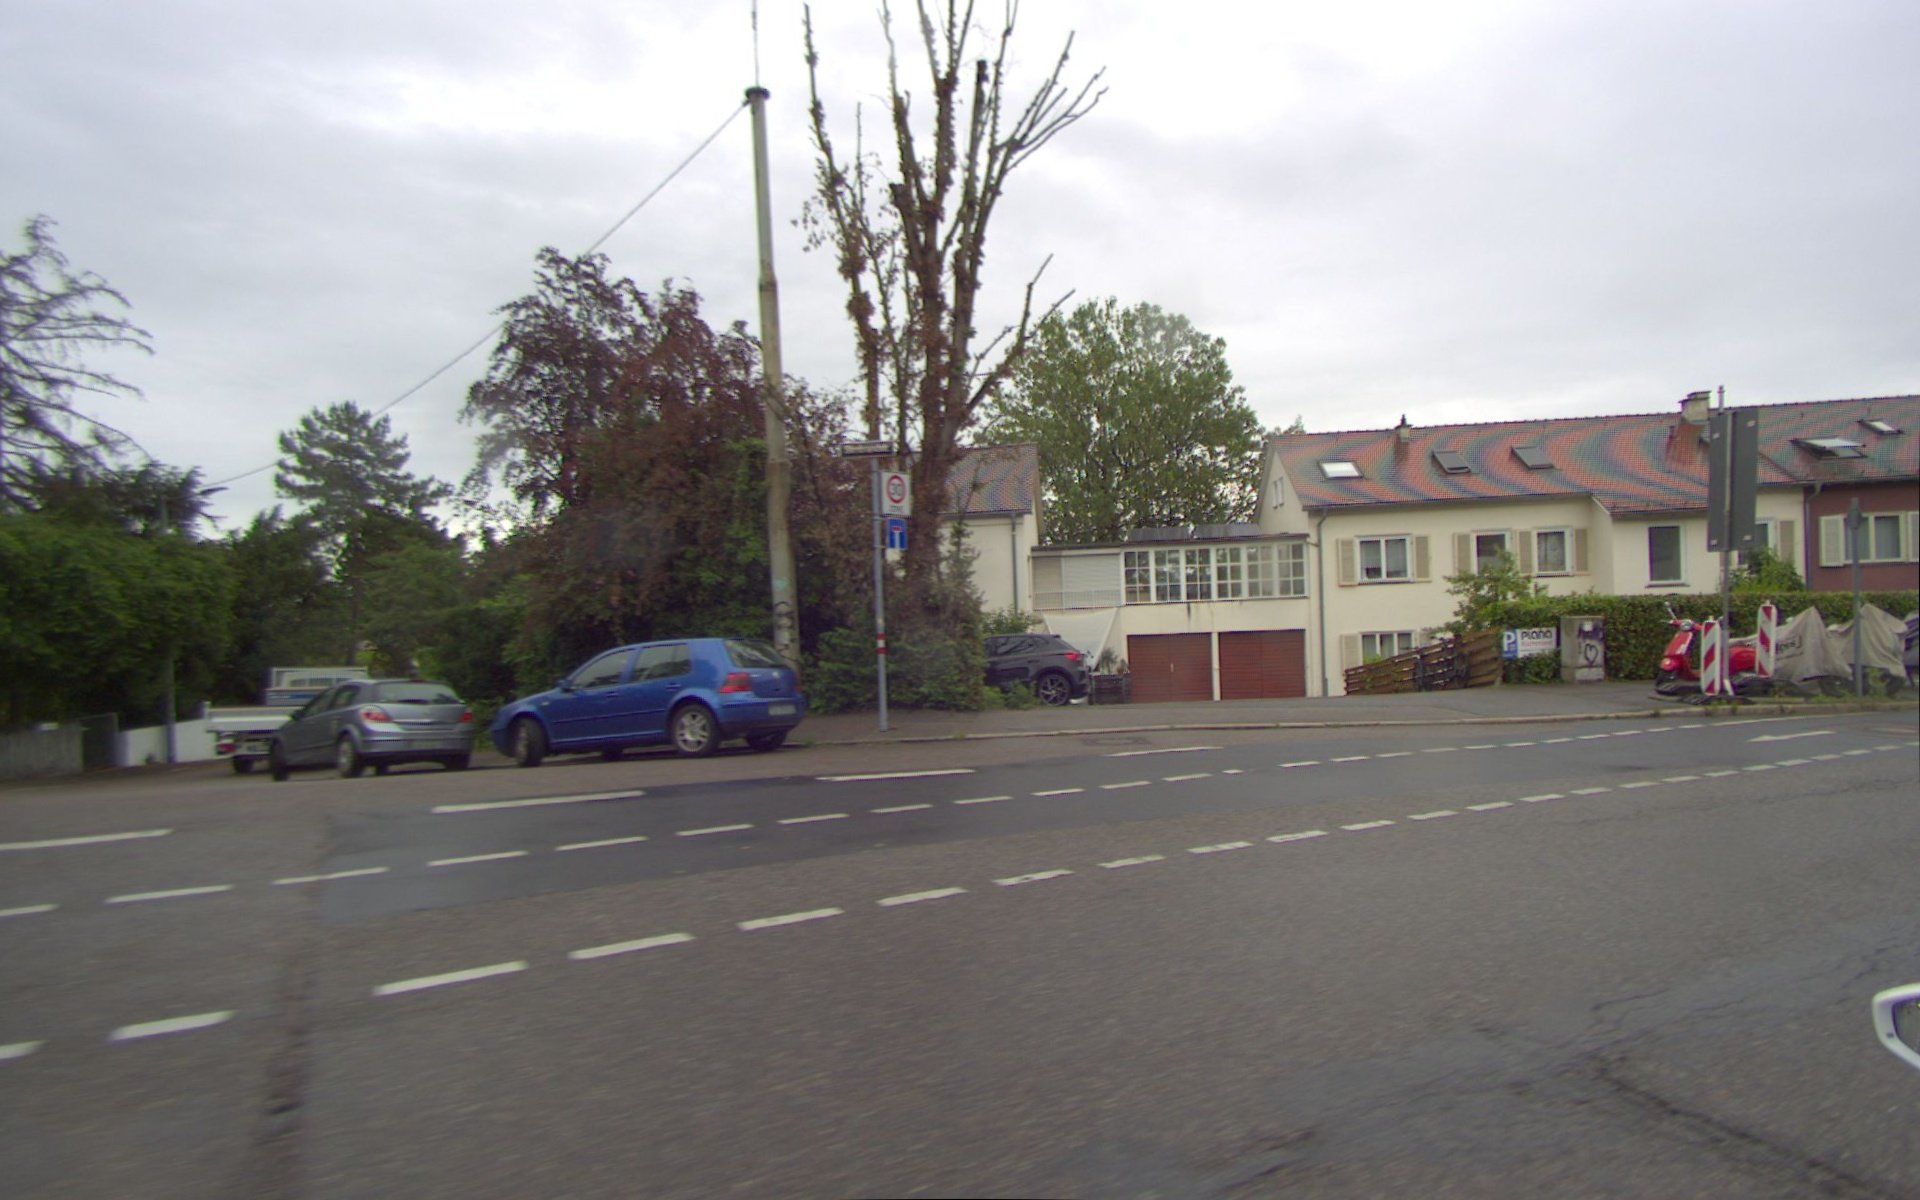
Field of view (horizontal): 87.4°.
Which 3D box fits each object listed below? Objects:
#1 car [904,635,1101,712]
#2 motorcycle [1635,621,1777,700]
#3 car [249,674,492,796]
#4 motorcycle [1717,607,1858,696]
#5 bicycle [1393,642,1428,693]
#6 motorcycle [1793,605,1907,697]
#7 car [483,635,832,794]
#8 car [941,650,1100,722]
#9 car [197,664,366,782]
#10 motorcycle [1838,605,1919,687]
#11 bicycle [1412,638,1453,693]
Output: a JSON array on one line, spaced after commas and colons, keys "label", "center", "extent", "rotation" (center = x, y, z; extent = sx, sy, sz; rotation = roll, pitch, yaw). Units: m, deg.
[{"label": "car", "center": [0.809, 1.343, 18.593], "extent": [3.491, 1.344, 1.556], "rotation": [0, -3, 4]}, {"label": "motorcycle", "center": [11.505, 0.921, 15.503], "extent": [1.886, 1.155, 0.511], "rotation": [-1, -2, -6]}, {"label": "car", "center": [-9.111, 1.949, 15.426], "extent": [4.017, 1.513, 1.835], "rotation": [-2, -3, 38]}, {"label": "motorcycle", "center": [13.105, 0.780, 15.977], "extent": [0.502, 1.296, 1.803], "rotation": [-1, 1, -12]}, {"label": "bicycle", "center": [9.706, 1.462, 21.657], "extent": [0.299, 1.048, 1.330], "rotation": [2, -5, 6]}, {"label": "motorcycle", "center": [14.144, 0.769, 16.034], "extent": [0.601, 1.321, 1.808], "rotation": [0, 2, 16]}, {"label": "car", "center": [-3.796, 1.347, 12.748], "extent": [3.864, 1.688, 1.842], "rotation": [1, -3, 20]}, {"label": "car", "center": [1.559, 2.161, 25.655], "extent": [3.863, 1.662, 1.790], "rotation": [1, -2, 5]}, {"label": "car", "center": [-15.485, 2.780, 23.201], "extent": [2.021, 2.440, 3.989], "rotation": [1, -6, -16]}, {"label": "motorcycle", "center": [15.643, 0.756, 16.423], "extent": [0.571, 1.288, 1.882], "rotation": [-2, 2, -43]}, {"label": "bicycle", "center": [9.521, 1.332, 20.260], "extent": [0.299, 1.048, 1.305], "rotation": [2, -5, 5]}]
